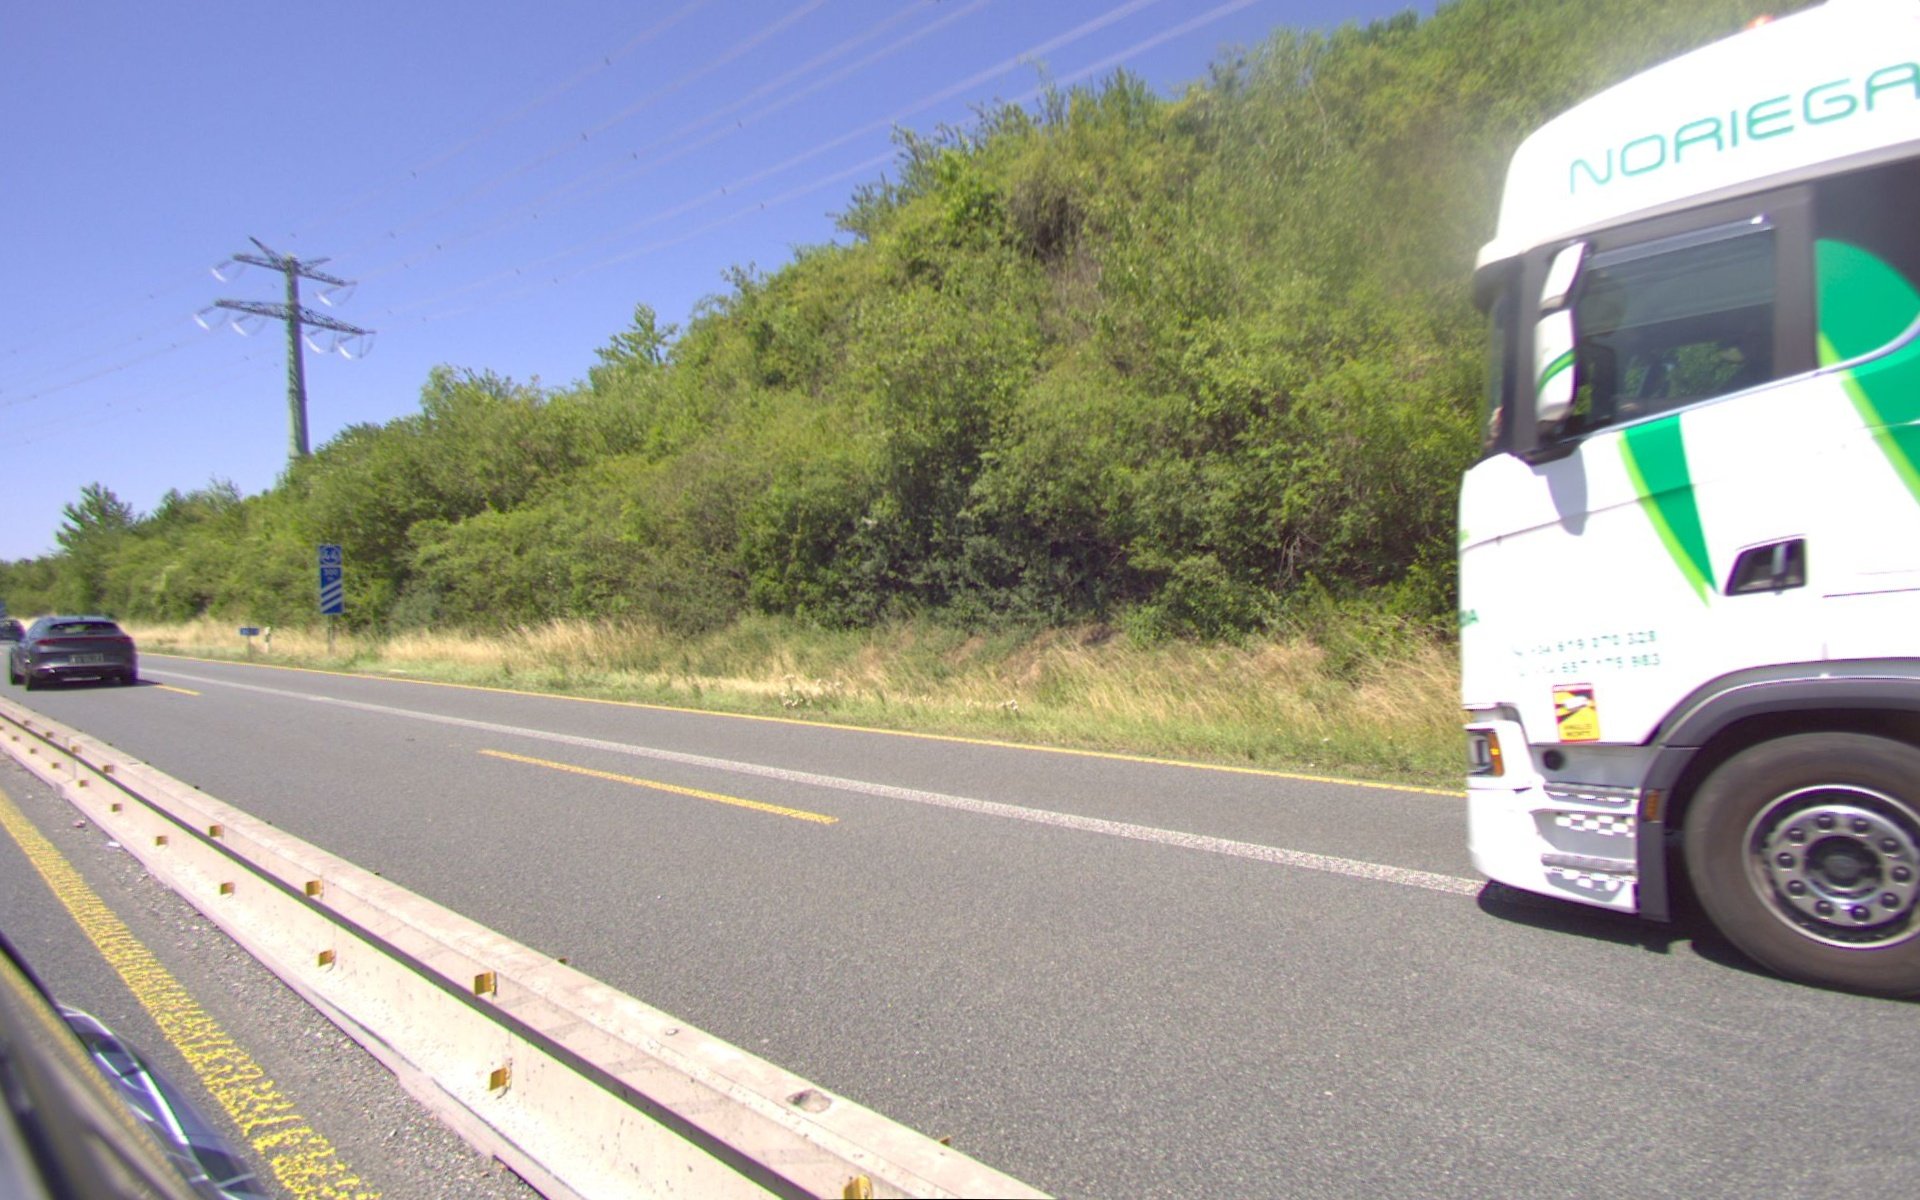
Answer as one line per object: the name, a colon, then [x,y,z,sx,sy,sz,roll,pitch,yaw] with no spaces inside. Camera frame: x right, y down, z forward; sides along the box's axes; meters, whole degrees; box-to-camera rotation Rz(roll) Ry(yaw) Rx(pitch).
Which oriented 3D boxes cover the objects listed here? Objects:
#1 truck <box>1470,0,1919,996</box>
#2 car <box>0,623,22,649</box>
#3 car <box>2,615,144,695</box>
truck: [5.443,-0.733,3.504,6.017,4.149,2.864,-1,-1,41]
car: [-56.558,2.131,59.515,3.641,1.432,1.663,-1,0,41]
car: [-19.311,1.117,21.977,4.276,1.516,1.879,-1,0,43]
